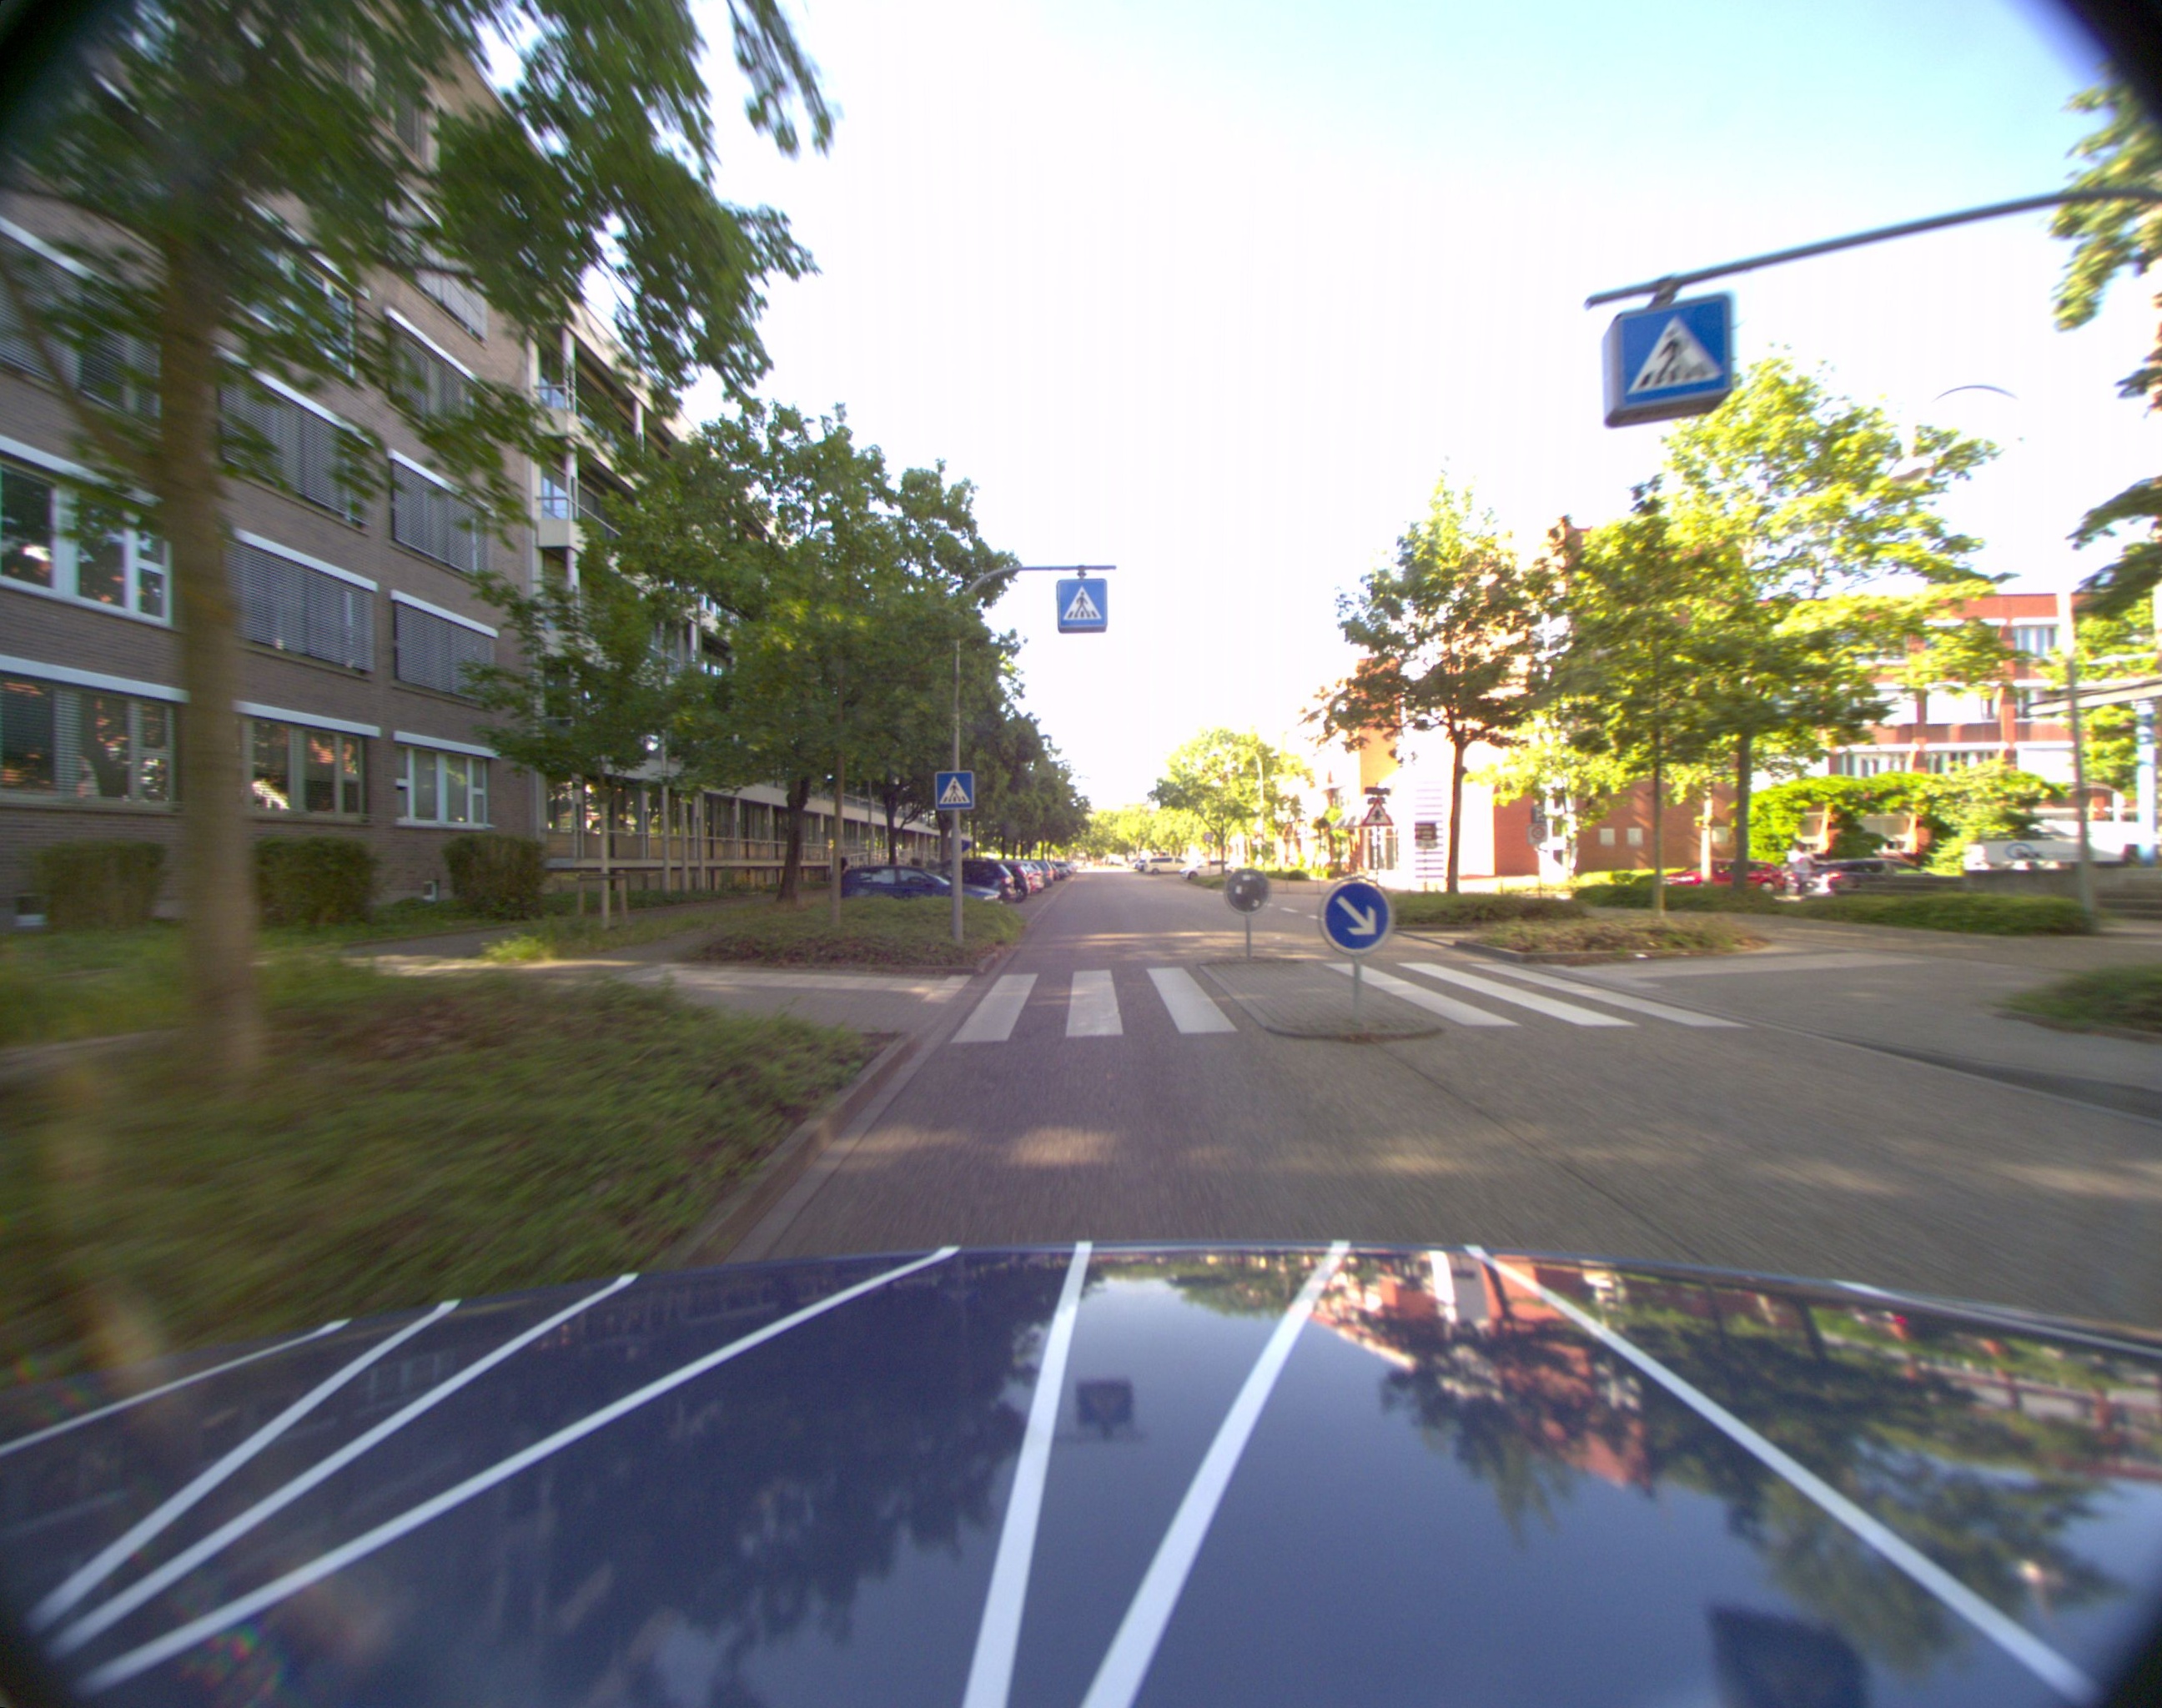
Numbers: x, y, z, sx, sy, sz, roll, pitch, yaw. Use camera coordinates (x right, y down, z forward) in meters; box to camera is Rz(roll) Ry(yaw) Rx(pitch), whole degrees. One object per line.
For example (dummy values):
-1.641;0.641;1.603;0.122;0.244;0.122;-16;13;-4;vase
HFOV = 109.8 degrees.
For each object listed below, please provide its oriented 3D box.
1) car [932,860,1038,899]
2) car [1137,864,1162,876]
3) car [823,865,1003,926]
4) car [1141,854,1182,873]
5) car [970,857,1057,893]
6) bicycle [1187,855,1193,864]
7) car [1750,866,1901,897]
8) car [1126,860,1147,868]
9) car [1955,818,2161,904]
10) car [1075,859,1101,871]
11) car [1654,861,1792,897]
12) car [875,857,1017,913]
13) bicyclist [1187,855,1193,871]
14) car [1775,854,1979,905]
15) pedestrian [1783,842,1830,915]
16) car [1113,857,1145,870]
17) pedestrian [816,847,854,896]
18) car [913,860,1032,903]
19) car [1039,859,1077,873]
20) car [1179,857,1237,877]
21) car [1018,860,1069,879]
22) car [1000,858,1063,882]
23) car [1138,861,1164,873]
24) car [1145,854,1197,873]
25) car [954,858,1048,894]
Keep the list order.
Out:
-3.788;1.010;30.536;4.136;1.508;1.836;0;0;-4;car
9.601;2.261;106.405;3.451;1.647;1.595;0;0;0;car
-4.071;0.995;18.906;4.127;1.362;1.654;1;0;-3;car
9.480;1.109;89.874;4.634;2.156;2.000;0;0;2;car
-3.260;1.003;37.165;4.136;1.657;1.907;-1;0;-3;car
13.978;0.730;97.449;0.637;1.092;2.155;-2;1;5;bicycle
32.455;1.190;33.239;4.720;1.180;1.848;-1;0;1;car
9.077;1.597;124.414;3.451;1.336;1.595;0;0;0;car
31.925;0.207;24.390;5.474;2.554;1.923;-1;0;0;car
0.965;1.534;106.953;3.554;1.544;1.743;1;-2;-2;car
27.920;1.076;33.147;4.437;1.443;1.848;-1;0;1;car
-4.095;0.930;23.499;4.136;1.581;1.659;1;1;-3;car
13.980;1.203;97.317;0.633;2.002;0.609;-2;0;4;bicyclist
25.603;0.810;24.546;4.721;1.499;1.848;-1;0;-2;car
19.311;0.651;20.236;0.623;1.906;0.672;0;0;2;pedestrian
6.068;1.180;96.359;4.006;1.637;1.795;0;0;2;car
-9.297;0.659;28.760;1.037;1.788;1.019;-2;0;0;pedestrian
-3.903;0.978;27.876;4.136;1.452;1.660;1;0;-3;car
-2.470;1.283;81.545;3.998;1.470;1.804;0;0;-2;car
9.478;0.963;56.973;4.003;1.411;1.618;-2;0;0;car
-2.911;1.225;59.658;3.916;1.374;1.587;1;1;-3;car
-3.311;1.073;51.276;3.995;1.486;1.714;1;0;4;car
9.595;1.784;104.311;3.451;1.619;1.595;0;0;0;car
9.373;0.979;79.330;5.317;1.875;2.000;0;0;2;car
-3.547;0.986;34.146;3.996;1.575;1.714;0;0;2;car
